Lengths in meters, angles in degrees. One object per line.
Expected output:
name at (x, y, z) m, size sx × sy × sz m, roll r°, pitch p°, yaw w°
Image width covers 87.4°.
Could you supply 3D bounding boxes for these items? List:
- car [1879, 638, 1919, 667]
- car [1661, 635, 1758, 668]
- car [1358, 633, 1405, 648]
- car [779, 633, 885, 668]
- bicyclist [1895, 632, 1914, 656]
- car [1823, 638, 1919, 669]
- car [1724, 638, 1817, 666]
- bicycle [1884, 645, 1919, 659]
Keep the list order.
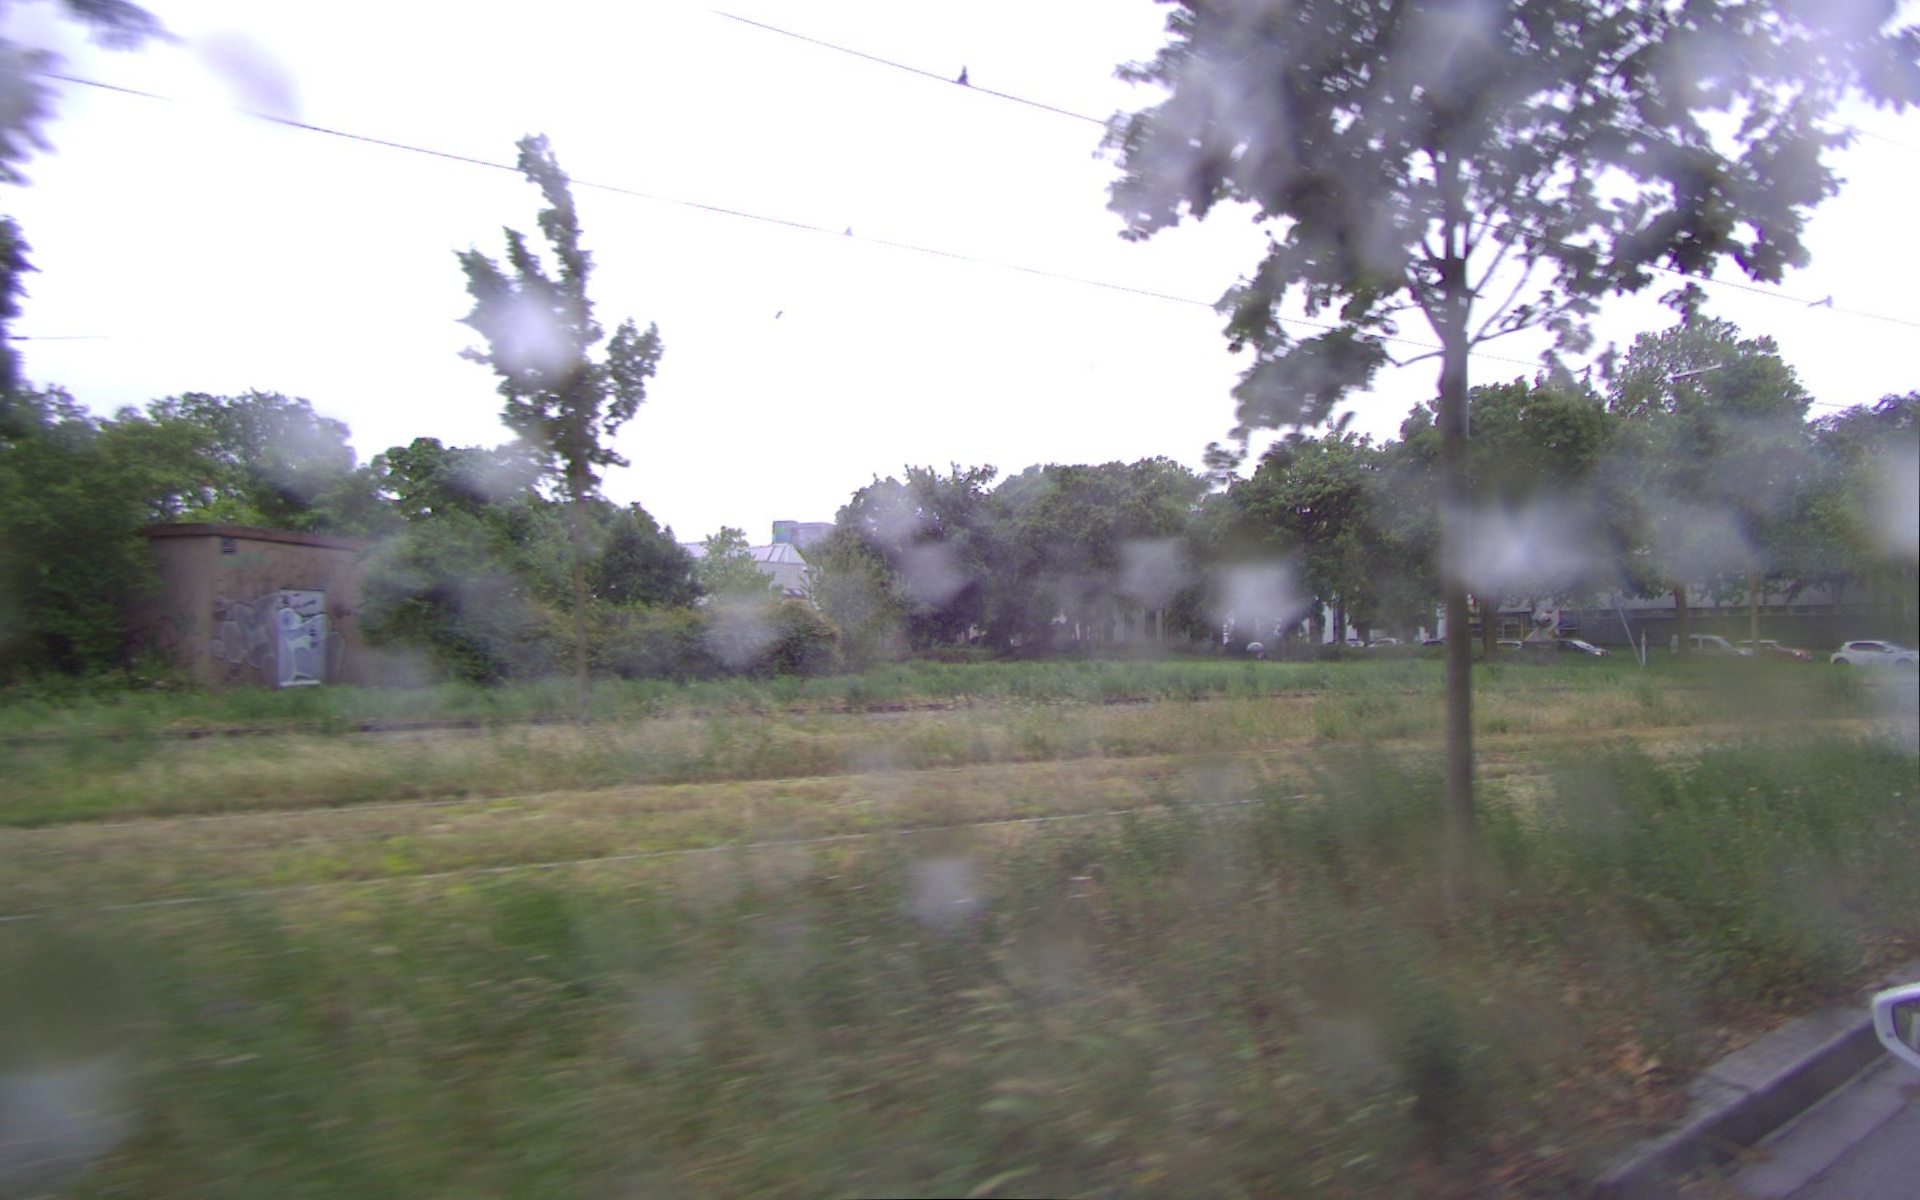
car at (50.491, 2.737, 52.117) m, size 1.630 × 1.518 × 3.807 m, roll 1°, pitch -3°, yaw -25°
car at (43.641, 2.994, 58.563) m, size 1.632 × 1.820 × 4.192 m, roll 0°, pitch -2°, yaw -29°
car at (39.366, 3.794, 93.795) m, size 1.519 × 1.438 × 3.972 m, roll 0°, pitch -3°, yaw -28°
car at (-5.304, 2.111, 41.883) m, size 4.014 × 1.356 × 1.839 m, roll -1°, pitch -3°, yaw 10°
bicyclist at (65.081, 3.034, 69.198) m, size 0.632 × 1.705 × 0.684 m, roll 1°, pitch -3°, yaw -18°
car at (46.854, 2.723, 51.199) m, size 1.630 × 1.518 × 4.054 m, roll 1°, pitch -3°, yaw -25°
car at (47.259, 3.022, 58.654) m, size 1.632 × 1.518 × 3.891 m, roll 0°, pitch -2°, yaw -29°
bicycle at (65.066, 3.571, 69.232) m, size 0.632 × 0.979 × 1.958 m, roll 1°, pitch -3°, yaw -17°
